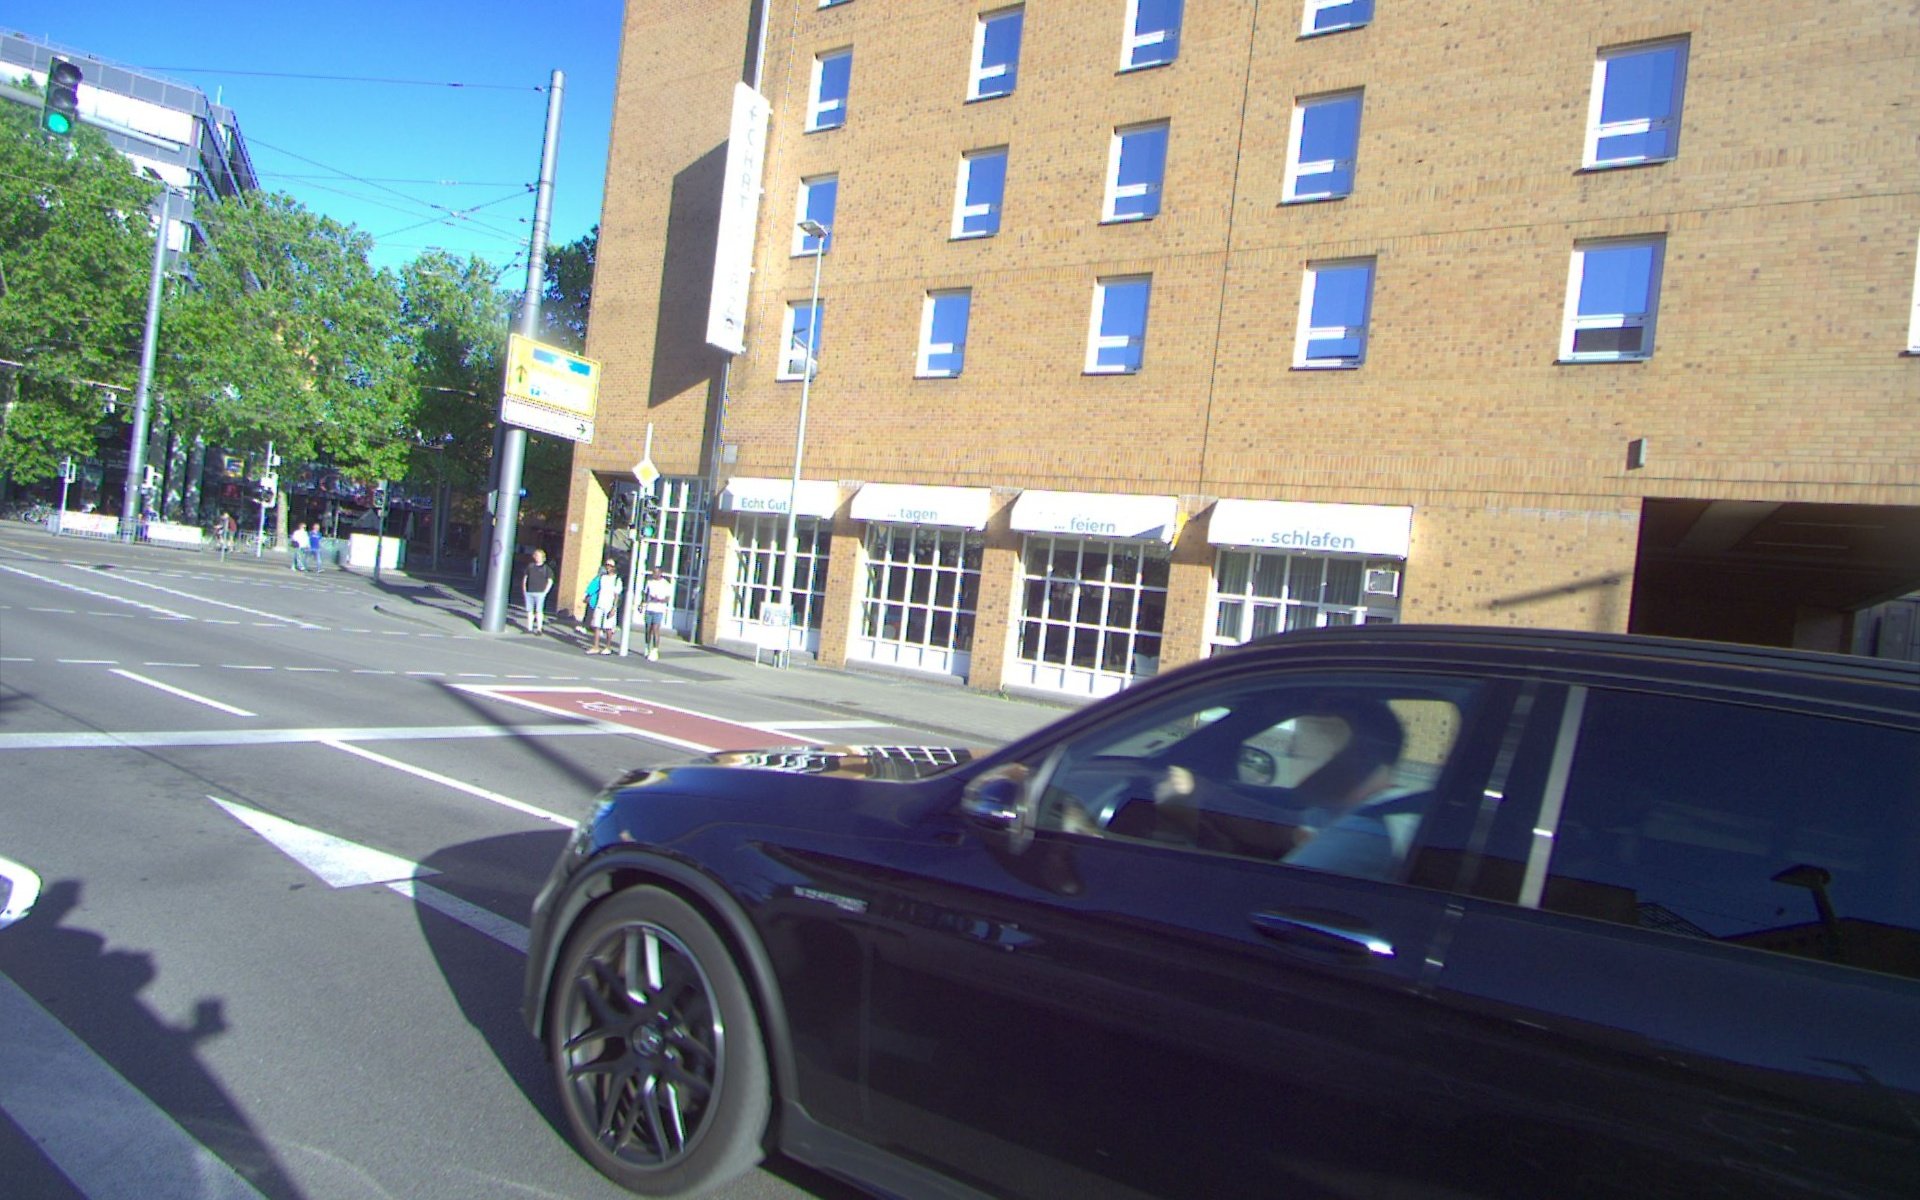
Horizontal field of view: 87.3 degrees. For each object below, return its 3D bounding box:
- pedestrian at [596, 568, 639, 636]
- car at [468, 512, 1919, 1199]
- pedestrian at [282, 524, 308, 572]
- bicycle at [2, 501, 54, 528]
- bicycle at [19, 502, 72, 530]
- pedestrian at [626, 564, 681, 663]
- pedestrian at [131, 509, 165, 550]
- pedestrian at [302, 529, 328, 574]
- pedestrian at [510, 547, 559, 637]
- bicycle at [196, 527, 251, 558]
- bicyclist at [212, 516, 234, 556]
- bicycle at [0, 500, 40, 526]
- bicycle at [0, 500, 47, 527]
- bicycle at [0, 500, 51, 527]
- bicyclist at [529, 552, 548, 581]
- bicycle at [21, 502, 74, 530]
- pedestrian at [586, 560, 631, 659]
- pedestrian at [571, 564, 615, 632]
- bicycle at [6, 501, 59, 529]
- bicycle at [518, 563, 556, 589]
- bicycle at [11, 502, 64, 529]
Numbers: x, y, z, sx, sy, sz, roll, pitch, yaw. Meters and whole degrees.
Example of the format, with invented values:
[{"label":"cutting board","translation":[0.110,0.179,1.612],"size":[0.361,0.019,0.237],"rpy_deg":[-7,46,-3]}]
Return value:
[{"label":"pedestrian","translation":[-7.965,0.057,23.394],"size":[0.543,1.495,0.593],"rpy_deg":[6,0,32]},{"label":"car","translation":[1.071,0.878,2.374],"size":[4.379,1.613,1.807],"rpy_deg":[7,-2,32]},{"label":"pedestrian","translation":[-22.857,-1.781,34.576],"size":[0.563,1.550,0.695],"rpy_deg":[8,-2,-37]},{"label":"bicycle","translation":[-48.379,-4.436,52.221],"size":[0.354,1.058,1.884],"rpy_deg":[6,-2,31]},{"label":"bicycle","translation":[-46.636,-4.275,51.309],"size":[0.354,1.058,1.884],"rpy_deg":[6,-2,31]},{"label":"pedestrian","translation":[-5.879,0.262,19.290],"size":[0.673,1.802,0.591],"rpy_deg":[6,1,43]},{"label":"pedestrian","translation":[-36.606,-3.175,45.361],"size":[0.747,1.724,0.834],"rpy_deg":[6,-1,32]},{"label":"pedestrian","translation":[-22.489,-1.693,35.077],"size":[0.563,1.496,0.695],"rpy_deg":[8,-2,-37]},{"label":"pedestrian","translation":[-9.078,-0.159,21.502],"size":[0.726,1.813,0.510],"rpy_deg":[7,-1,-19]},{"label":"bicycle","translation":[-36.313,-2.819,49.621],"size":[0.414,1.228,2.046],"rpy_deg":[6,-2,32]},{"label":"bicyclist","translation":[-36.323,-3.138,49.559],"size":[0.396,1.859,0.585],"rpy_deg":[6,-1,31]},{"label":"bicycle","translation":[-50.134,-4.641,53.360],"size":[0.354,1.058,1.885],"rpy_deg":[7,-2,31]},{"label":"bicycle","translation":[-49.192,-4.537,52.740],"size":[0.354,1.058,1.885],"rpy_deg":[7,-2,31]},{"label":"bicycle","translation":[-48.778,-4.489,52.477],"size":[0.354,1.058,1.885],"rpy_deg":[7,-2,31]},{"label":"bicyclist","translation":[-23.436,-1.853,55.977],"size":[0.556,1.536,0.634],"rpy_deg":[7,-1,13]},{"label":"bicycle","translation":[-46.051,-4.235,50.789],"size":[0.354,1.058,1.884],"rpy_deg":[6,-2,31]},{"label":"pedestrian","translation":[-6.735,0.182,19.262],"size":[0.587,1.804,0.676],"rpy_deg":[4,3,-29]},{"label":"pedestrian","translation":[-8.338,-0.039,22.860],"size":[0.591,1.470,0.593],"rpy_deg":[6,0,32]},{"label":"bicycle","translation":[-47.845,-4.380,51.907],"size":[0.354,1.058,1.884],"rpy_deg":[7,-2,31]},{"label":"bicycle","translation":[-23.510,-1.306,55.912],"size":[0.557,1.191,2.333],"rpy_deg":[6,-2,13]},{"label":"bicycle","translation":[-47.353,-4.339,51.665],"size":[0.354,1.058,1.884],"rpy_deg":[6,-2,31]}]
